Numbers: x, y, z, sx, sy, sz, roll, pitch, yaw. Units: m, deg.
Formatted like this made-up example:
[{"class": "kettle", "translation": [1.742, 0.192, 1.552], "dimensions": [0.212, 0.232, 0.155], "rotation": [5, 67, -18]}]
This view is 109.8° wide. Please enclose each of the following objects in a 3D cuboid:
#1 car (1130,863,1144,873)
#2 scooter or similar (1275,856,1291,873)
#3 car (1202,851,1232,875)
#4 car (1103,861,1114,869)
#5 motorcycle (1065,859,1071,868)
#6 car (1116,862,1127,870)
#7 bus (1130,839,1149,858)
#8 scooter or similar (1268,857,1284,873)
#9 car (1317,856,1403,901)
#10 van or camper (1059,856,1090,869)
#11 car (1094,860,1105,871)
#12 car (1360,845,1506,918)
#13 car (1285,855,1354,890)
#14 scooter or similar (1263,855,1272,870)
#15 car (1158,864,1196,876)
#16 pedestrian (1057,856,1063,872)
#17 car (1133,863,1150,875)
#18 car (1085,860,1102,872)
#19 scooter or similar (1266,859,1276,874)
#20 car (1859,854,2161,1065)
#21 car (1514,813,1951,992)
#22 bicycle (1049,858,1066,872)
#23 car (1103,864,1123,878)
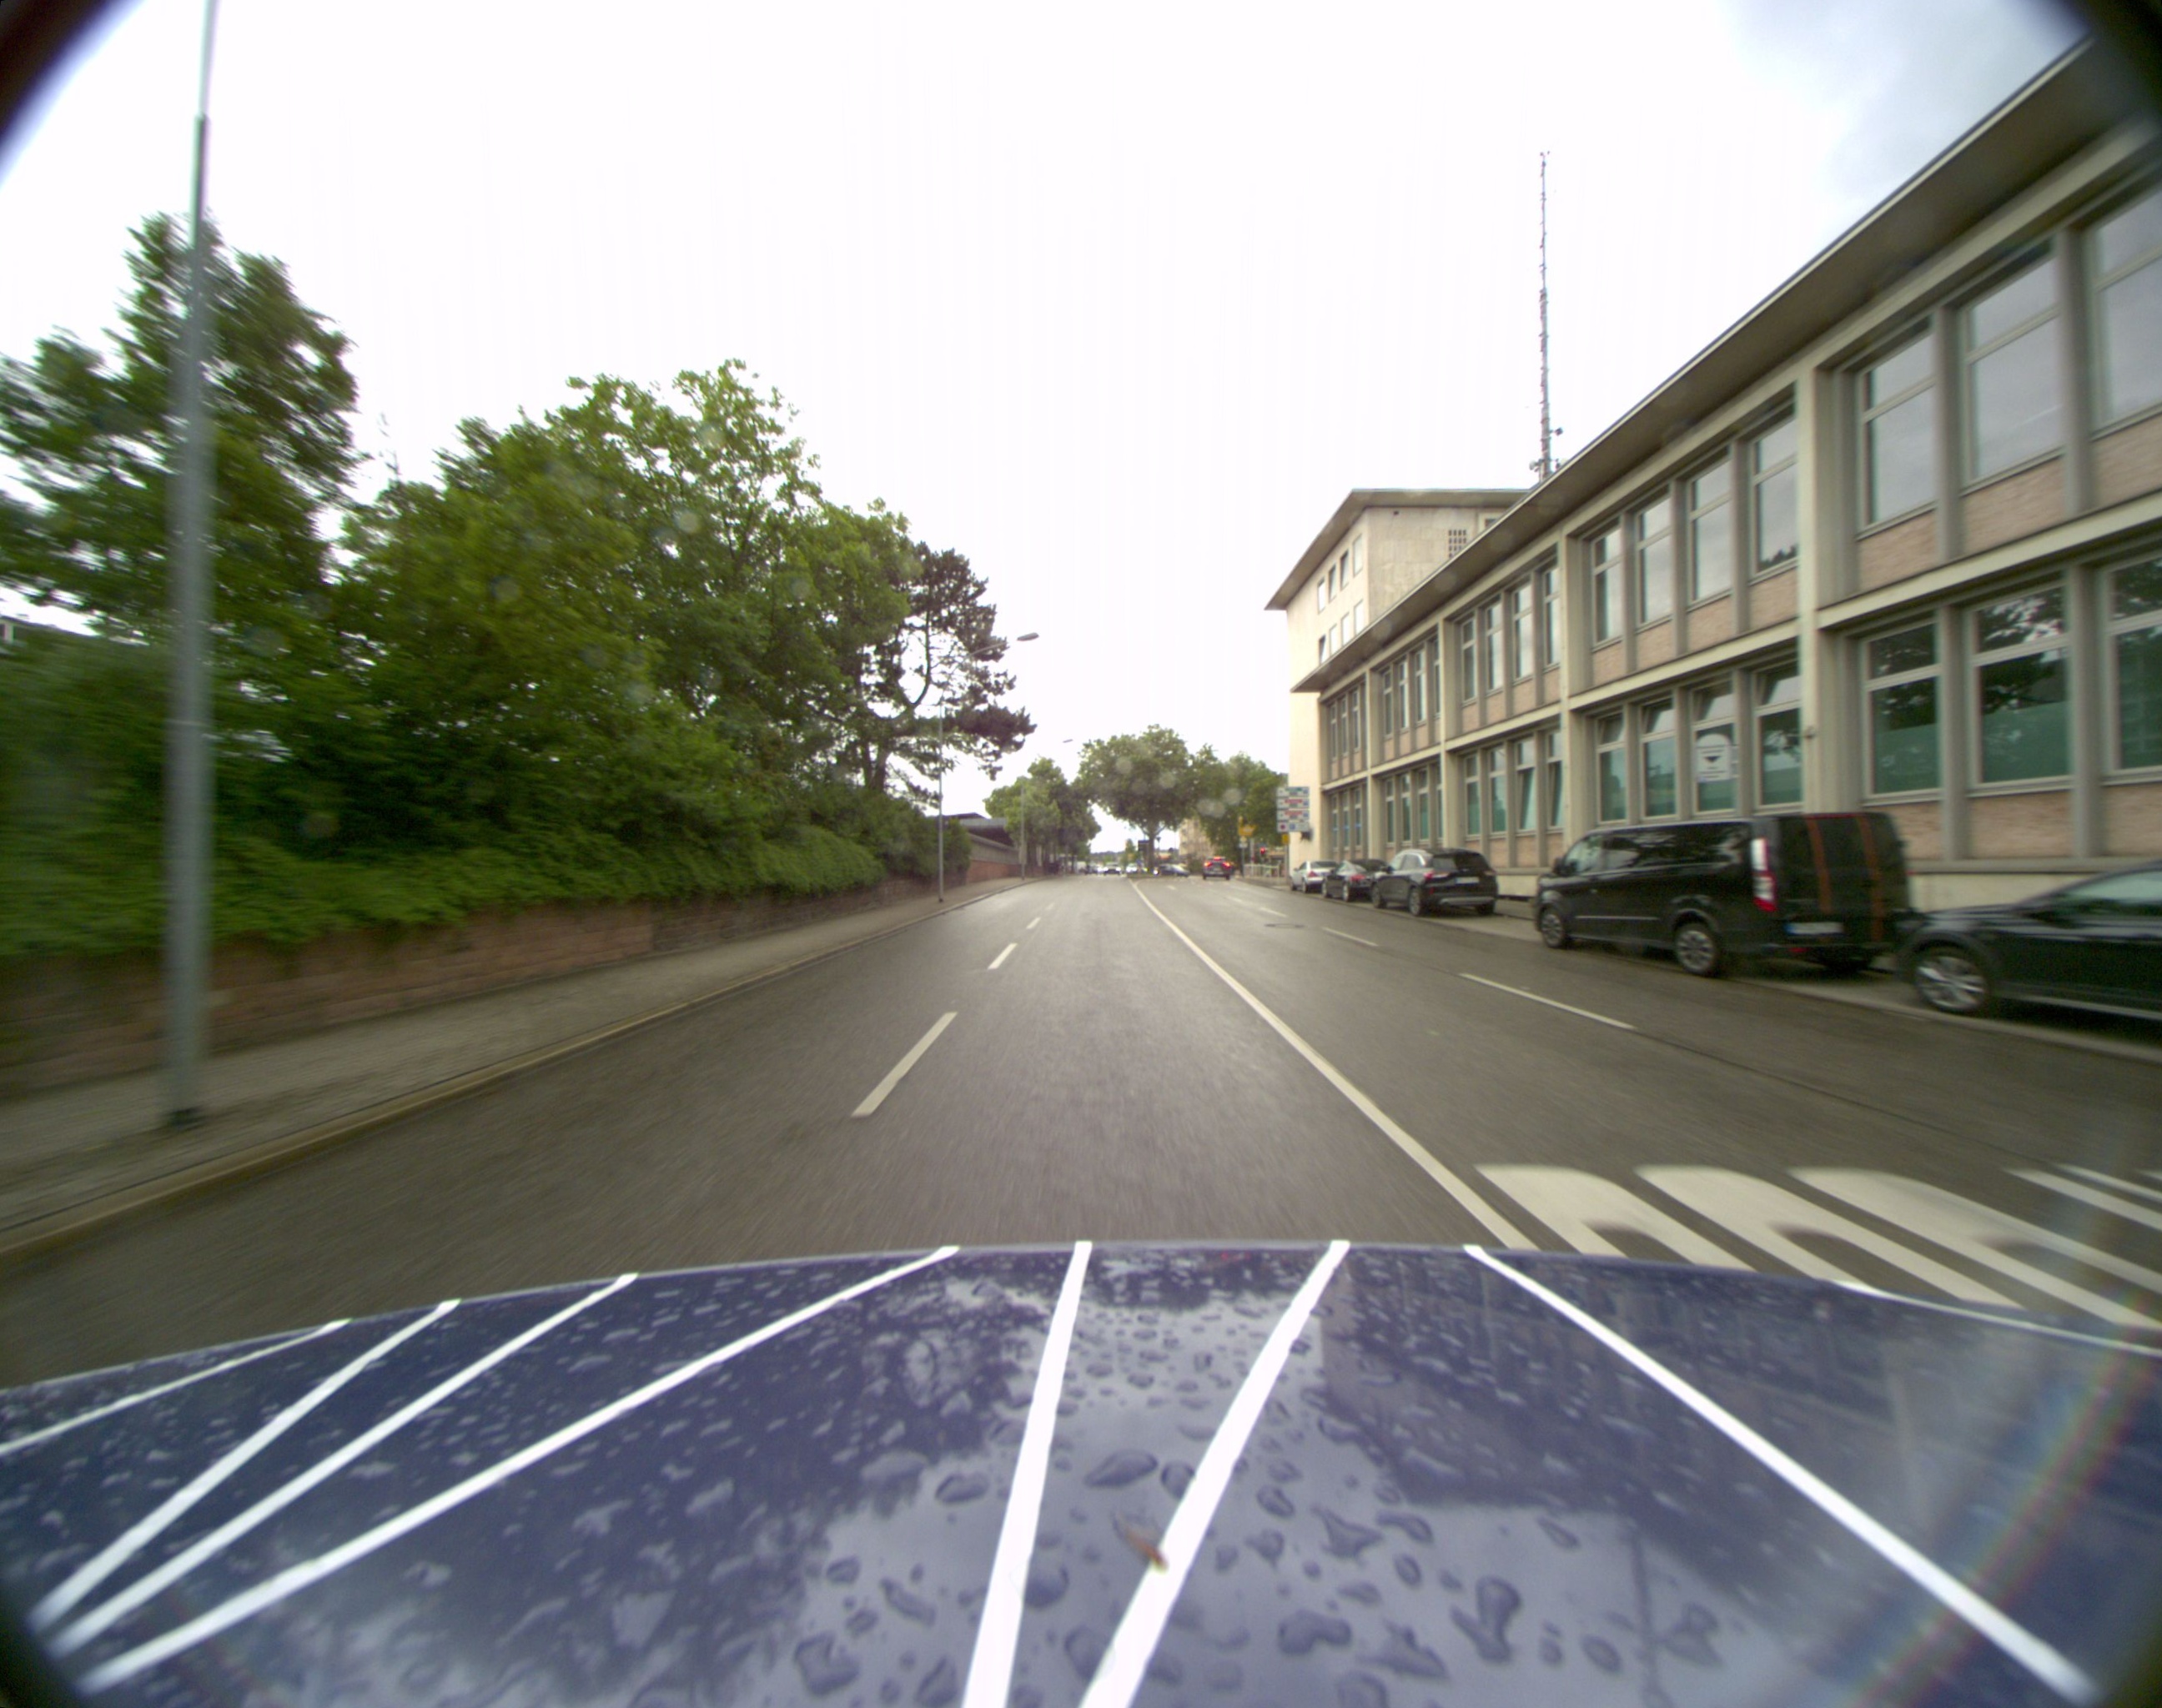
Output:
[{"class": "car", "translation": [8.147, 2.000, 110.716], "dimensions": [1.983, 1.438, 3.910], "rotation": [1, -1, 4]}, {"class": "scooter or similar", "translation": [14.765, 0.764, 55.629], "dimensions": [0.607, 1.185, 1.531], "rotation": [0, -1, 37]}, {"class": "car", "translation": [9.597, 0.631, 53.884], "dimensions": [1.825, 1.651, 4.340], "rotation": [1, 0, 6]}, {"class": "car", "translation": [5.305, 2.163, 146.798], "dimensions": [1.983, 1.438, 3.909], "rotation": [-1, 1, 4]}, {"class": "motorcycle", "translation": [-2.141, 1.565, 123.983], "dimensions": [0.793, 1.339, 2.457], "rotation": [1, -1, 1]}, {"class": "car", "translation": [7.476, 2.235, 140.722], "dimensions": [1.983, 1.438, 3.910], "rotation": [1, -1, 4]}, {"class": "bus", "translation": [10.011, -0.867, 130.499], "dimensions": [2.759, 3.114, 8.843], "rotation": [-1, 0, 2]}, {"class": "scooter or similar", "translation": [14.631, 0.828, 56.955], "dimensions": [0.607, 1.185, 1.531], "rotation": [0, -1, 37]}, {"class": "car", "translation": [9.097, 0.740, 25.088], "dimensions": [1.546, 1.345, 4.111], "rotation": [-1, 0, 4]}, {"class": "van or camper", "translation": [-1.395, 1.959, 170.777], "dimensions": [6.541, 2.852, 2.275], "rotation": [1, -1, -27]}, {"class": "car", "translation": [2.843, 1.694, 114.742], "dimensions": [1.619, 1.477, 3.670], "rotation": [-1, 0, 2]}, {"class": "car", "translation": [8.907, 0.634, 19.702], "dimensions": [1.801, 1.666, 4.604], "rotation": [-1, 0, 3]}, {"class": "car", "translation": [9.520, 0.695, 30.638], "dimensions": [1.695, 1.290, 4.094], "rotation": [-1, 0, 4]}, {"class": "scooter or similar", "translation": [15.292, 0.713, 62.372], "dimensions": [0.489, 1.160, 1.502], "rotation": [0, -1, 3]}, {"class": "car", "translation": [11.135, 1.836, 88.424], "dimensions": [1.825, 1.401, 4.402], "rotation": [1, -1, -36]}, {"class": "pedestrian", "translation": [-2.044, 0.942, 73.786], "dimensions": [0.456, 1.559, 0.394], "rotation": [1, 0, 38]}, {"class": "car", "translation": [7.963, 1.990, 100.809], "dimensions": [1.969, 1.630, 4.359], "rotation": [1, -1, 1]}, {"class": "car", "translation": [1.579, 1.497, 96.990], "dimensions": [1.871, 1.465, 3.828], "rotation": [1, -1, 5]}, {"class": "scooter or similar", "translation": [15.179, 0.991, 60.802], "dimensions": [0.571, 1.185, 1.575], "rotation": [0, -1, 6]}, {"class": "car", "translation": [8.929, 0.779, 5.691], "dimensions": [1.865, 1.543, 4.313], "rotation": [-1, 0, 2]}, {"class": "car", "translation": [8.603, 0.525, 10.866], "dimensions": [1.954, 1.932, 4.995], "rotation": [-1, 0, 0]}, {"class": "bicycle", "translation": [-2.288, 1.062, 73.553], "dimensions": [1.720, 1.241, 0.487], "rotation": [2, 0, 35]}, {"class": "car", "translation": [3.451, 1.777, 81.226], "dimensions": [1.871, 1.465, 3.828], "rotation": [1, -1, 5]}]
